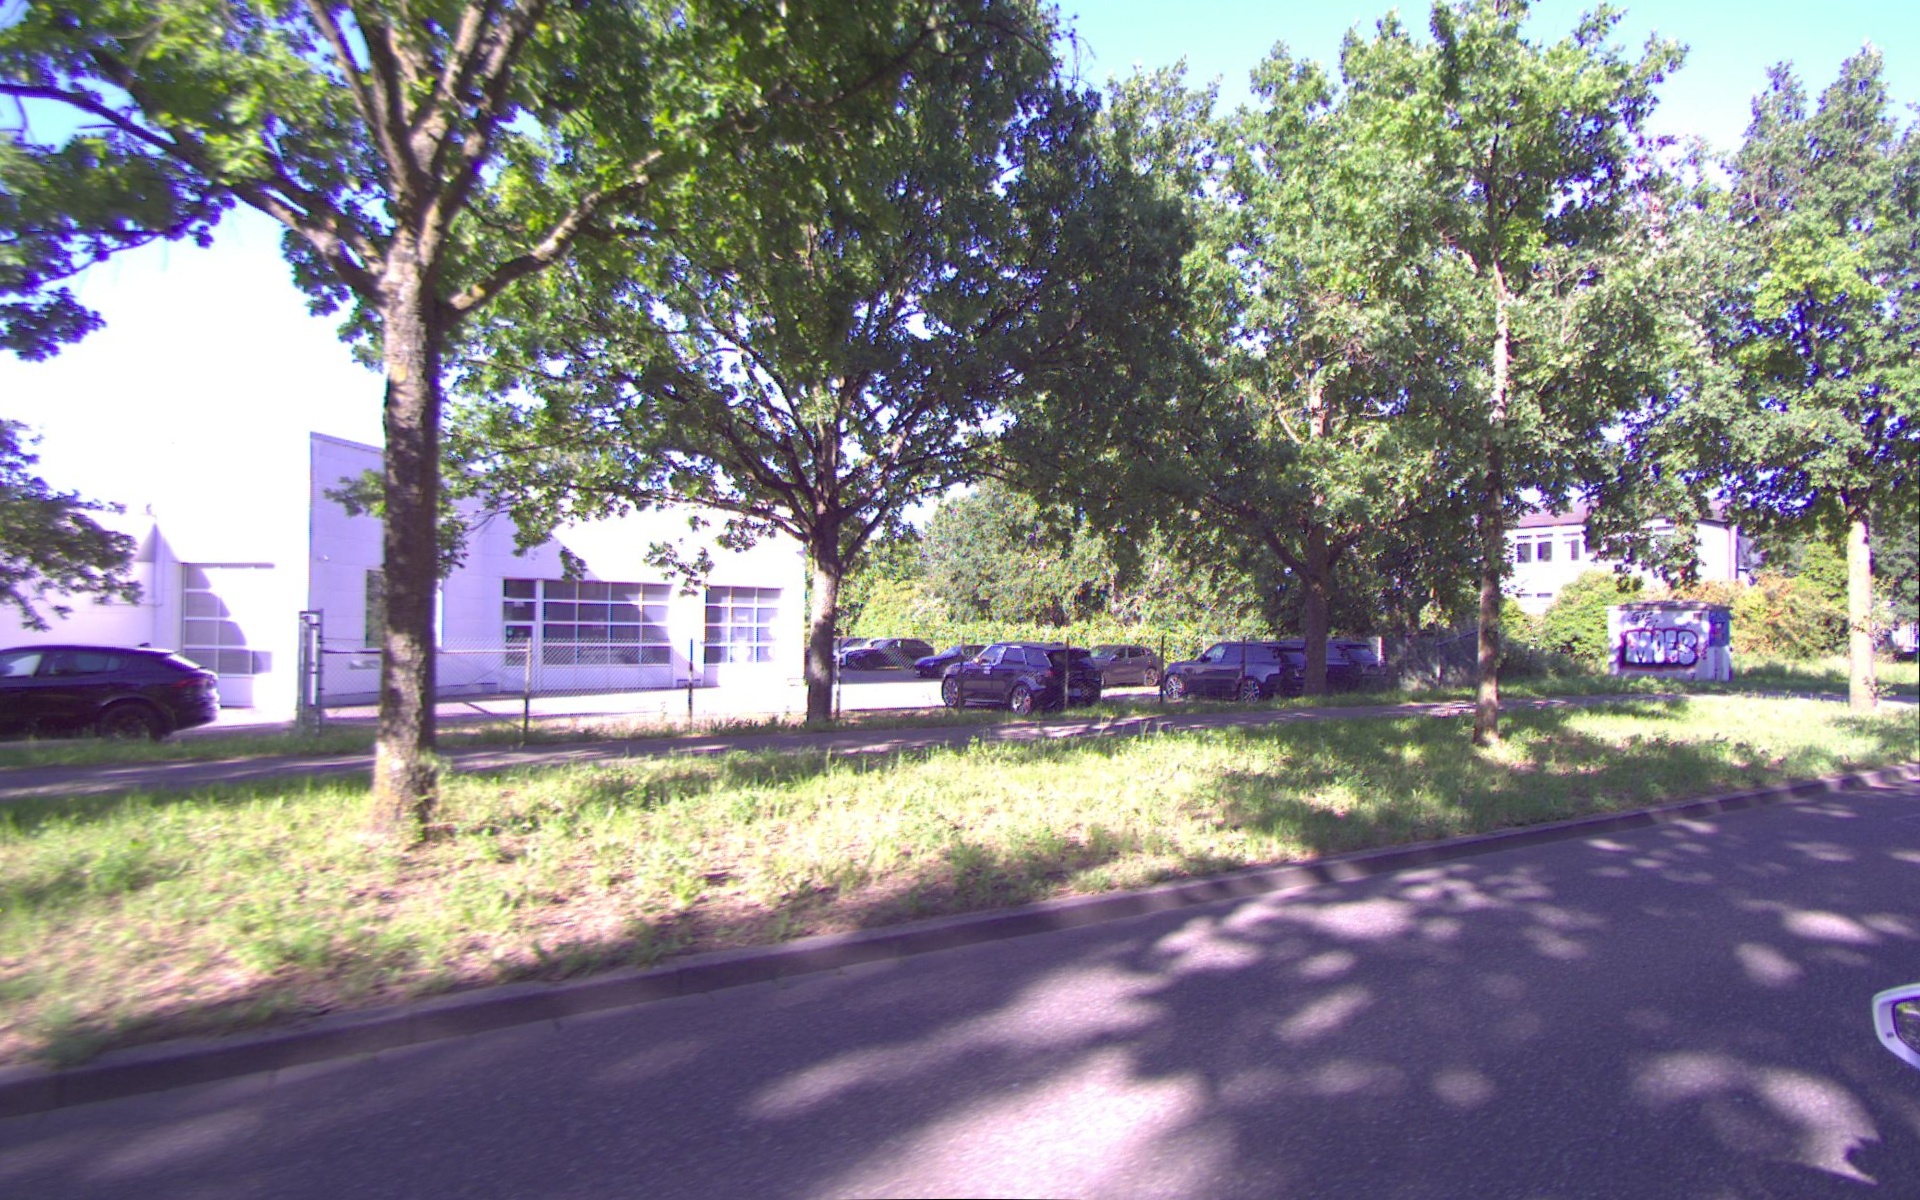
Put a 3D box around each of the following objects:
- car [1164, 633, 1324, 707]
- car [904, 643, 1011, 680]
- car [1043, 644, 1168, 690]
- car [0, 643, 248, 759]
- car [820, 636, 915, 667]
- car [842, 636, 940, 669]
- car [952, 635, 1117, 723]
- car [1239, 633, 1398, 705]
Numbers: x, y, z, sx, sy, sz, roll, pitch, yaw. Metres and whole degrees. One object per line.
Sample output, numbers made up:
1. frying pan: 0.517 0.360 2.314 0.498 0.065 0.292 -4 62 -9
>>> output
1. car: 8.145 1.947 29.100 1.979 1.825 4.164 1 0 -34
2. car: -0.099 2.865 47.696 4.837 1.587 1.980 2 0 -36
3. car: 5.770 2.592 39.589 4.837 1.587 1.980 2 0 -36
4. car: -14.437 1.538 15.886 4.956 1.619 1.984 2 0 -30
5. car: -5.091 2.830 55.606 4.827 1.587 1.984 2 0 -30
6. car: -3.633 2.760 53.124 4.827 1.587 1.984 2 0 -30
7. car: 1.755 1.850 24.782 1.981 1.825 3.959 1 0 -36
8. car: 10.717 1.998 30.273 1.979 1.825 4.164 1 0 -34
